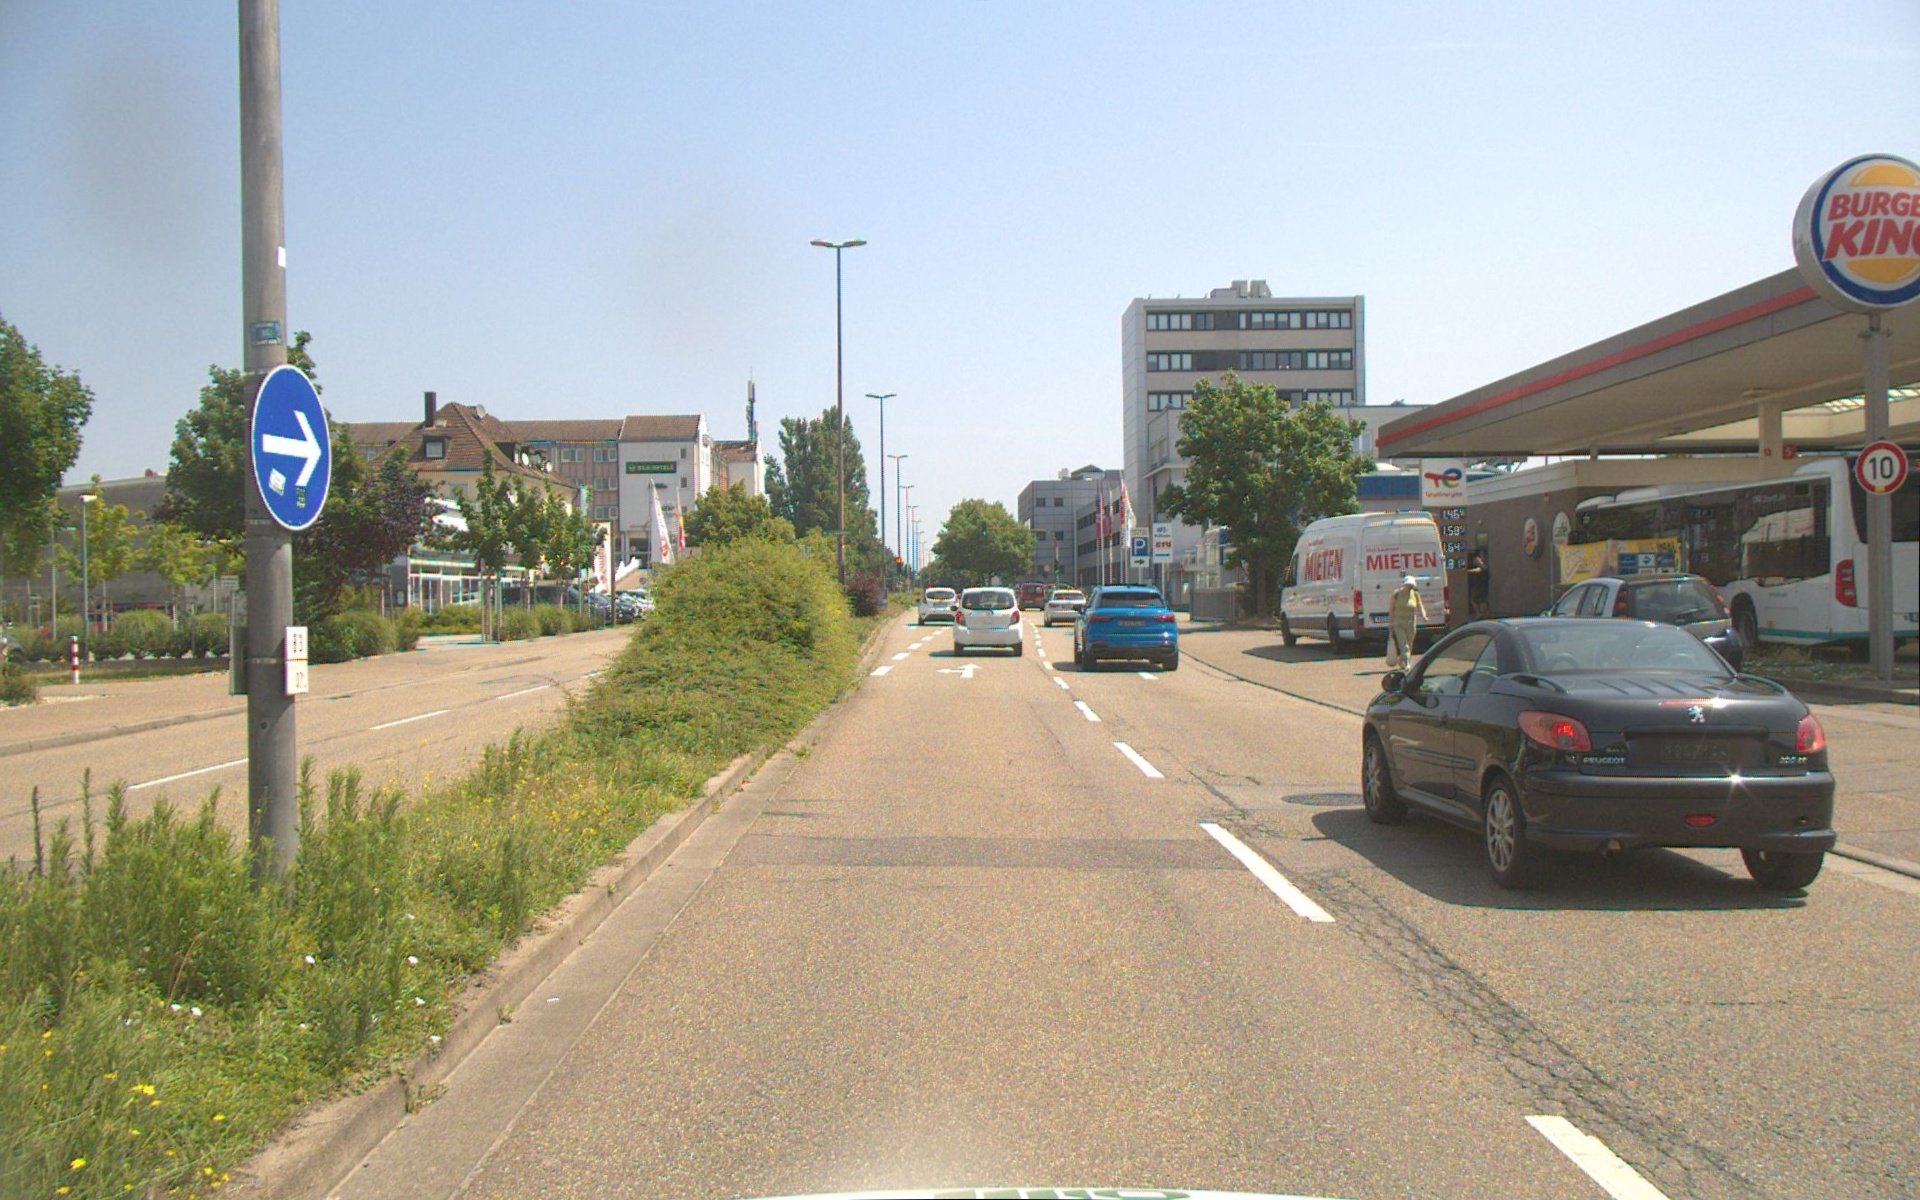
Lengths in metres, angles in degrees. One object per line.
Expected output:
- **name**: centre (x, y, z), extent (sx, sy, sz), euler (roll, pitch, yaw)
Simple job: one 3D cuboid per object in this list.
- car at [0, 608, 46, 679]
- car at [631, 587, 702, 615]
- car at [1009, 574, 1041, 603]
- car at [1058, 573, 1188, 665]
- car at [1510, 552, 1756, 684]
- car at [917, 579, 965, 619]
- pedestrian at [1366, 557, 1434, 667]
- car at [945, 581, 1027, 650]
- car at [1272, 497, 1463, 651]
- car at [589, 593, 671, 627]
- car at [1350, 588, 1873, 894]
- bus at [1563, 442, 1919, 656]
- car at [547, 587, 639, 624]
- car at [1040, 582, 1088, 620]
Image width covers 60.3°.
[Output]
- **car**: centre (-22.109, 0.976, 36.453), extent (1.733, 1.574, 3.999), euler (-1, -2, 0)
- **car**: centre (-17.669, 0.066, 99.802), extent (3.904, 1.579, 1.865), euler (0, -2, 1)
- **car**: centre (4.167, -0.733, 106.695), extent (1.759, 1.759, 3.970), euler (0, -1, -3)
- **car**: centre (3.120, 0.306, 32.540), extent (1.875, 1.625, 4.393), euler (1, 1, -3)
- **car**: centre (8.832, 0.206, 22.059), extent (1.624, 1.545, 3.819), euler (-2, 0, -1)
- **car**: centre (-0.715, -0.016, 65.638), extent (1.792, 1.475, 4.000), euler (0, -1, 1)
- **pedestrian**: centre (7.508, 0.196, 28.251), extent (0.799, 1.778, 0.703), euler (-6, 1, -1)
- **car**: centre (0.559, 0.357, 38.448), extent (1.678, 1.537, 3.245), euler (0, 0, -3)
- **car**: centre (8.524, -0.524, 35.441), extent (2.090, 2.889, 7.307), euler (-2, 0, -1)
- **car**: centre (-17.220, 0.533, 86.451), extent (3.908, 1.713, 1.998), euler (0, -2, -4)
- **car**: centre (3.551, 0.664, 9.734), extent (1.567, 1.450, 3.660), euler (0, 0, -1)
- **bus**: centre (14.446, -0.889, 30.354), extent (2.746, 3.132, 12.290), euler (0, 1, 2)
- **car**: centre (-17.163, 0.270, 77.530), extent (3.908, 1.694, 1.887), euler (0, -2, -4)
- **car**: centre (4.054, 0.040, 64.968), extent (1.633, 1.423, 3.793), euler (0, 0, 0)
